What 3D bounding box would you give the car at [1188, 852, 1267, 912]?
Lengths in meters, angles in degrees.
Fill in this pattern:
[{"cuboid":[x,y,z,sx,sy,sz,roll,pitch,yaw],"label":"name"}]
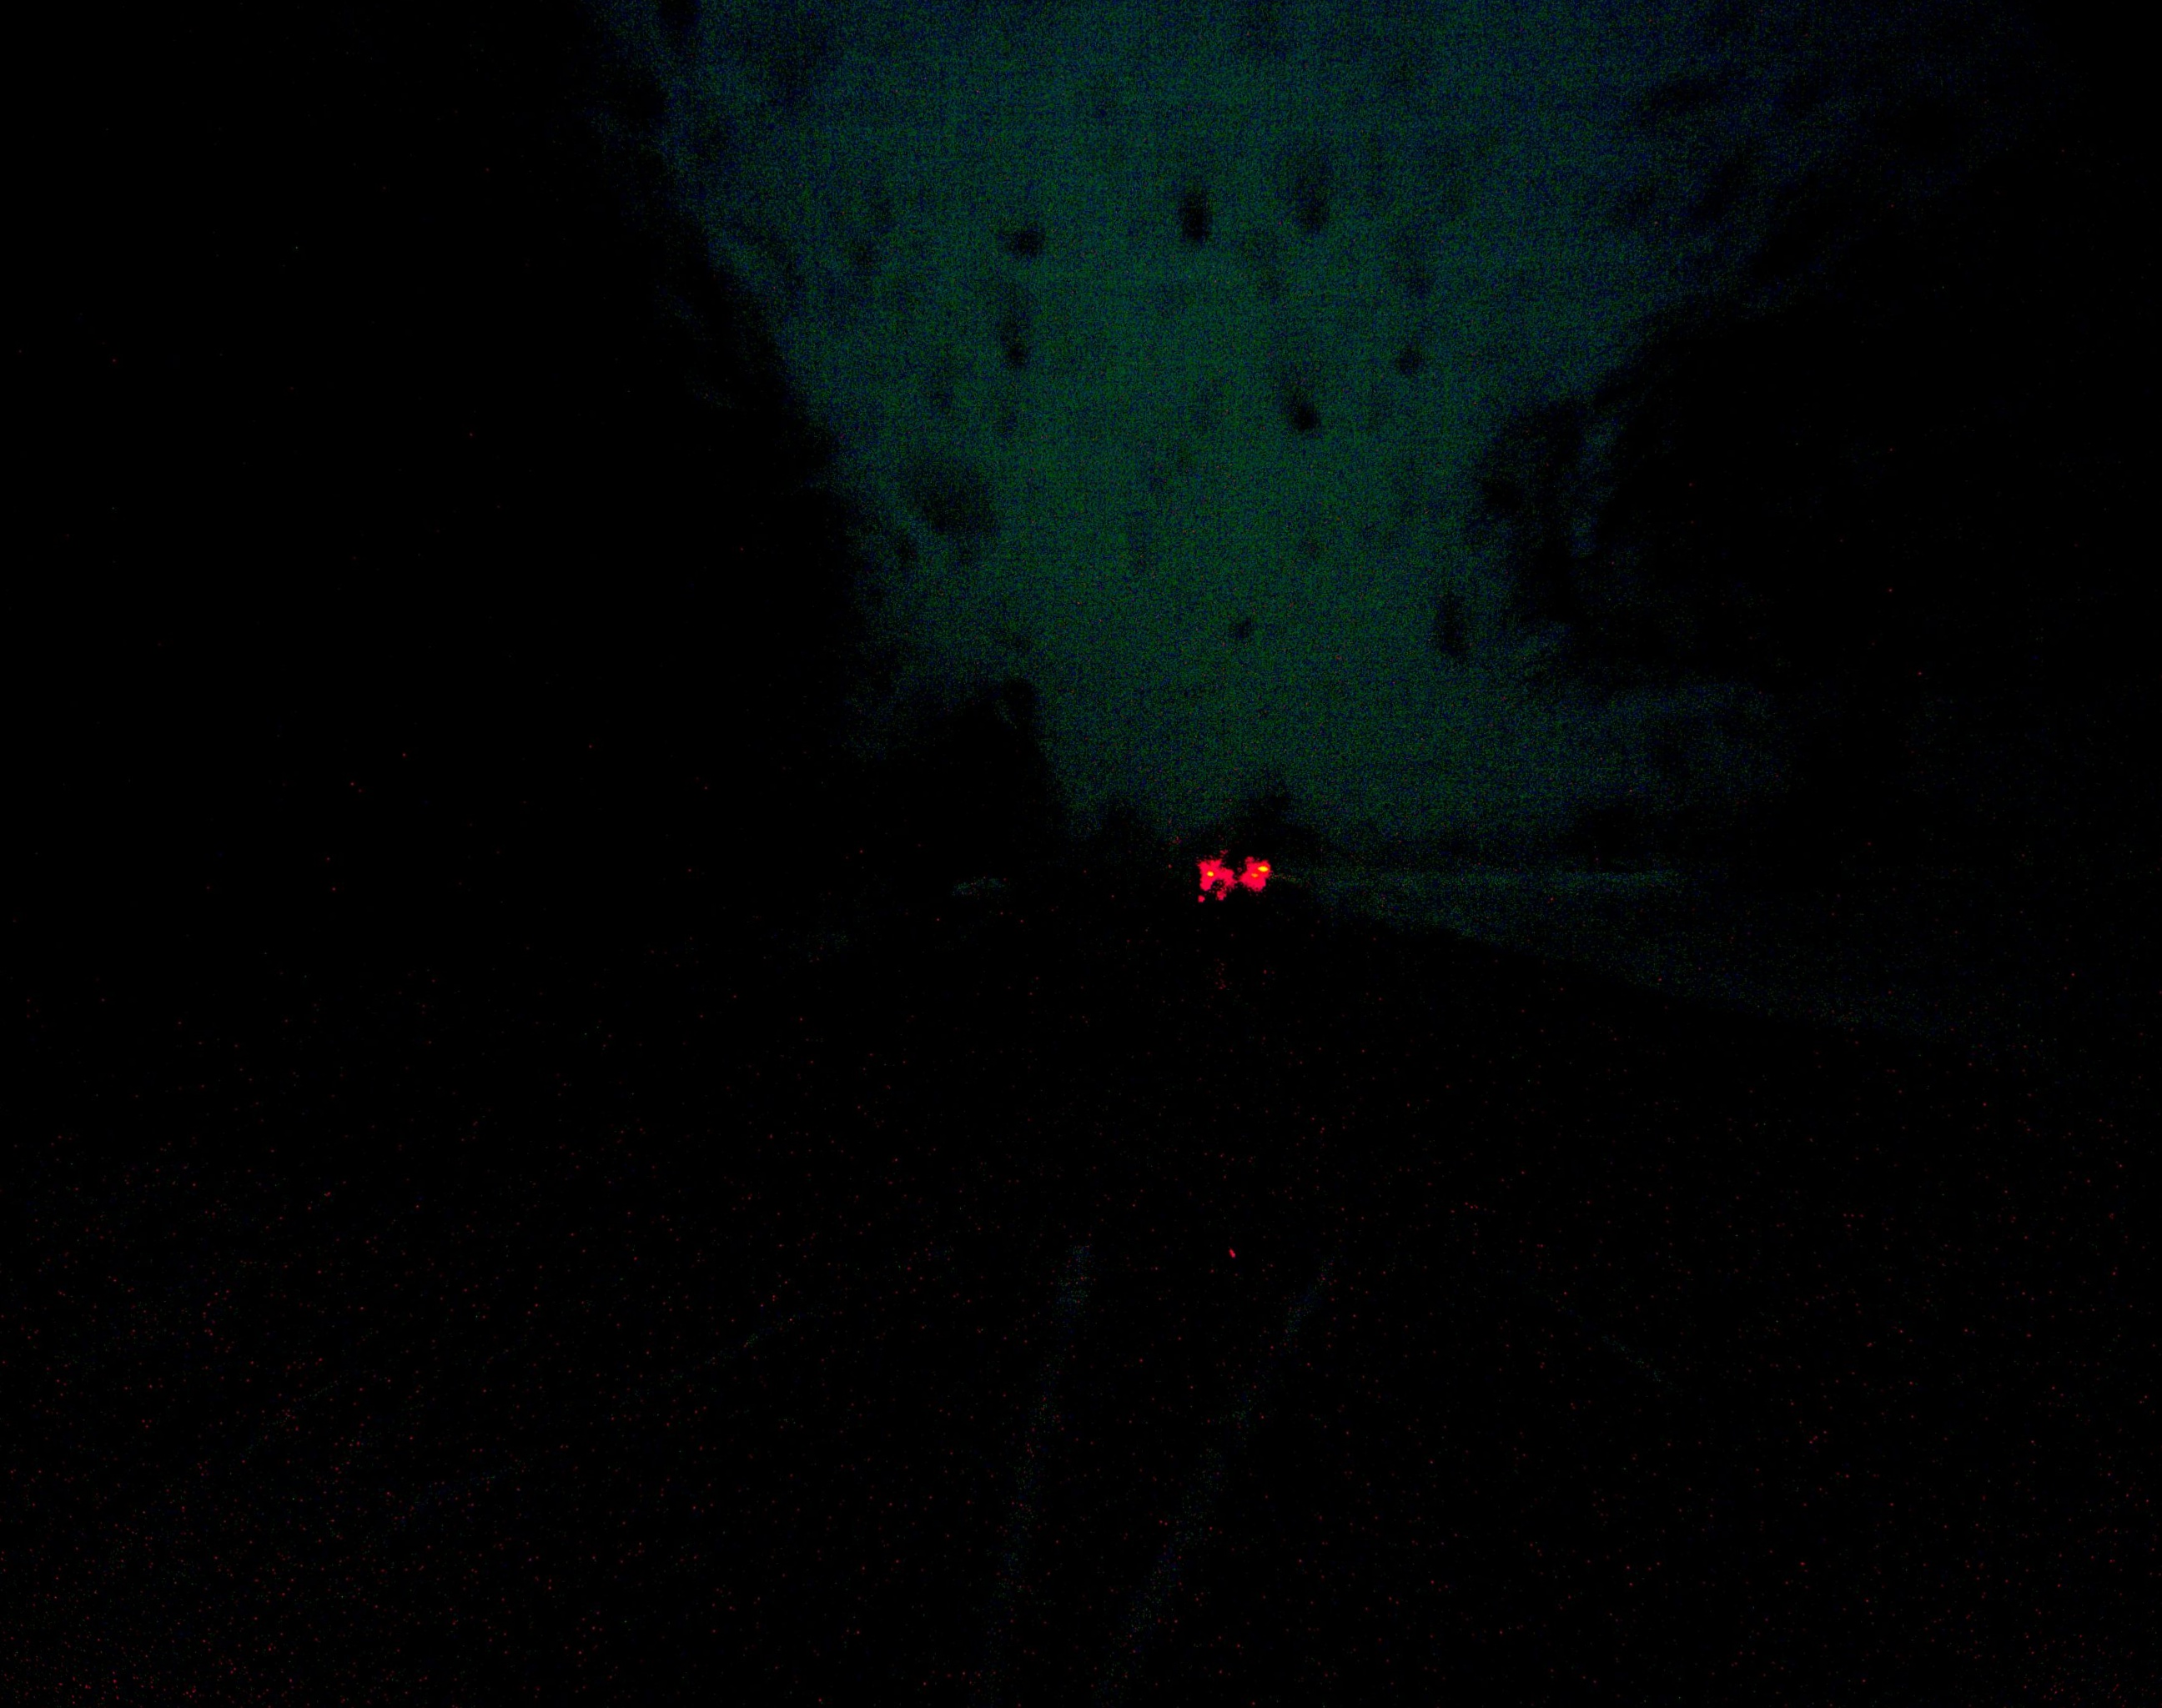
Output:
[{"cuboid":[4.483,0.823,23.893,1.756,1.683,4.427,-2,-1,3],"label":"car"}]
